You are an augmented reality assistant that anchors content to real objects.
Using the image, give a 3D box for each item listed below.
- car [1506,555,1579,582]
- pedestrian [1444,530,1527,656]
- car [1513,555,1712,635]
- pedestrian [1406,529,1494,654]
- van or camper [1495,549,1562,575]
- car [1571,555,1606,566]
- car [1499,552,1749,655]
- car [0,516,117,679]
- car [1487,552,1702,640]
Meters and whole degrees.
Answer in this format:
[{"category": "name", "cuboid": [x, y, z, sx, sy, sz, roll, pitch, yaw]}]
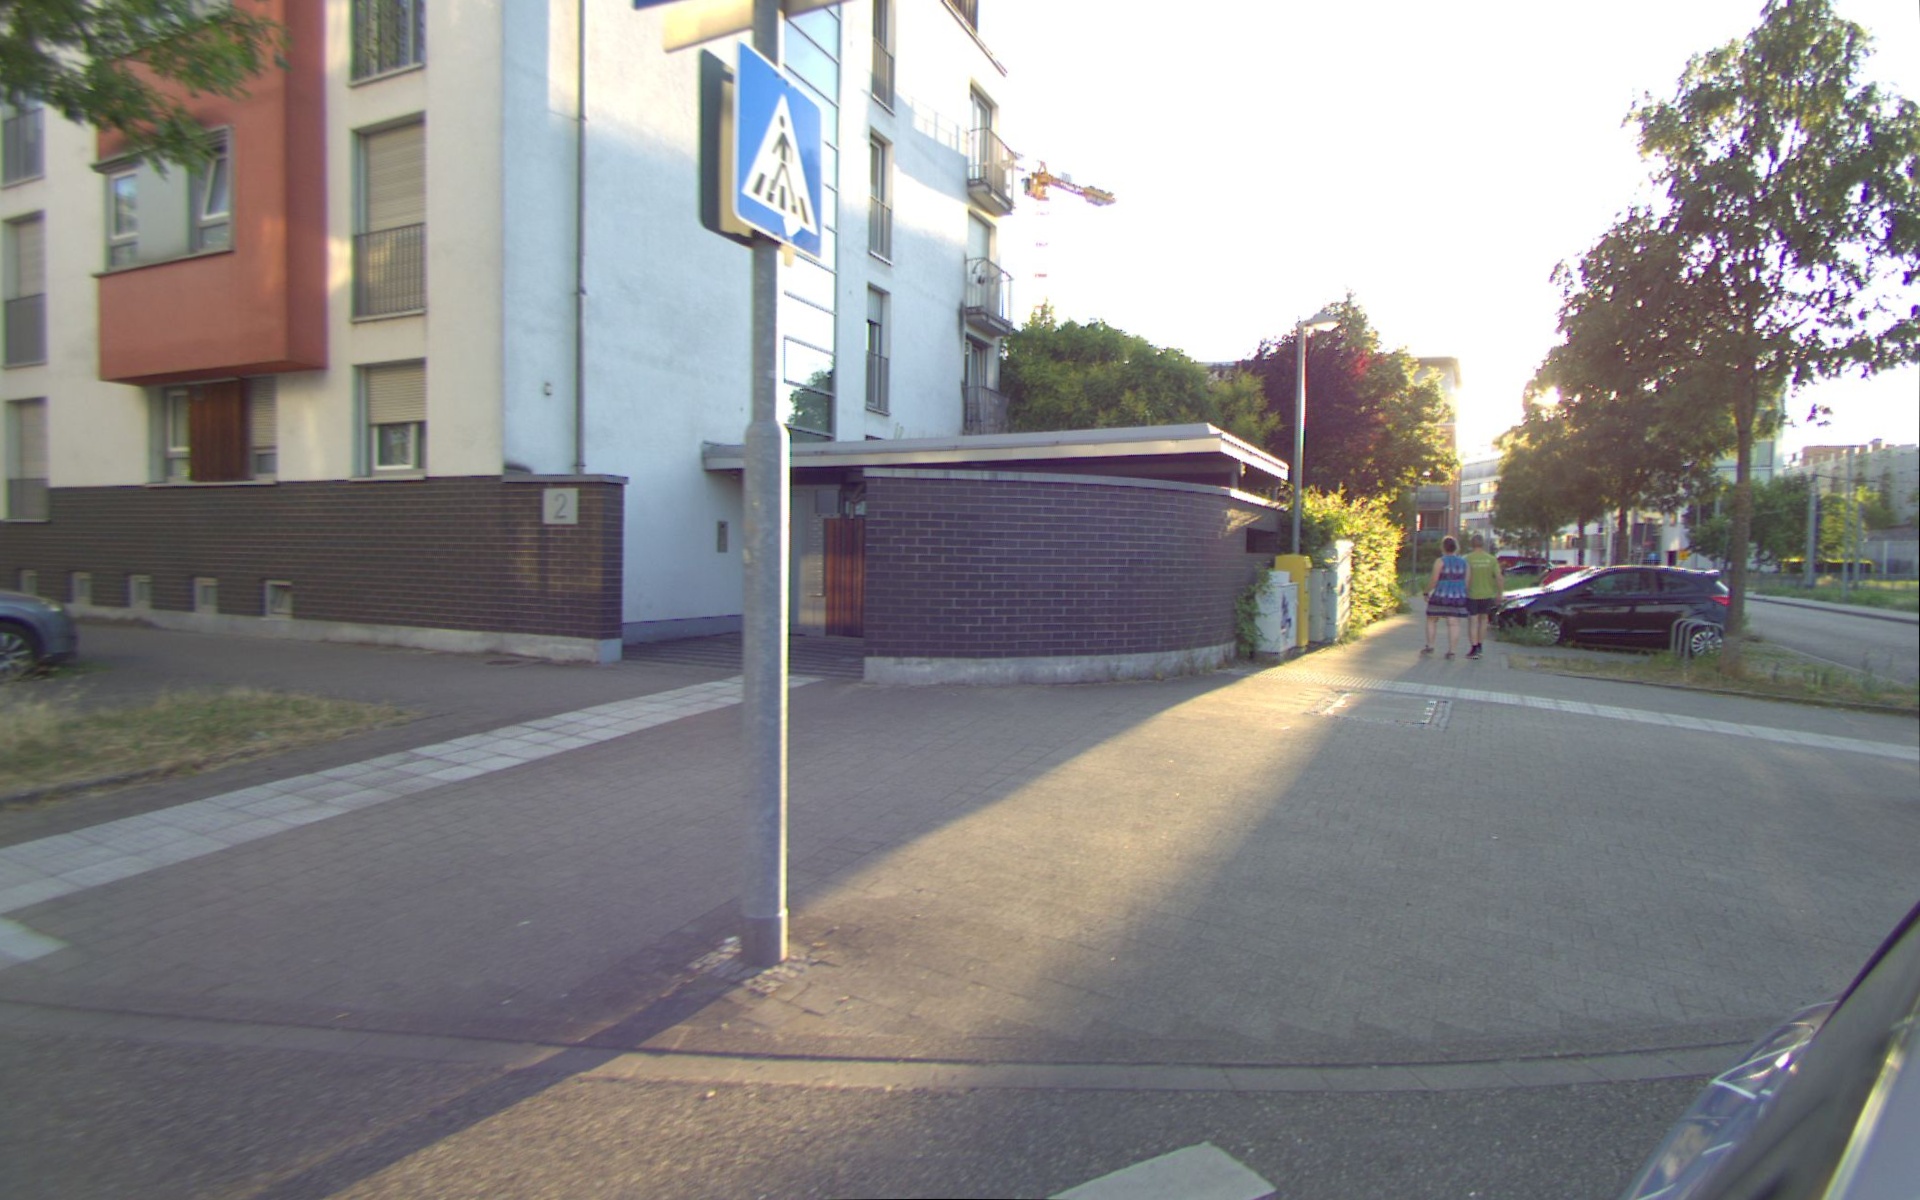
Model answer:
[{"category": "car", "cuboid": [37.886, -2.074, 65.898, 3.835, 1.715, 1.691, 1, 2, 22]}, {"category": "pedestrian", "cuboid": [7.265, -0.114, 14.012, 0.611, 1.687, 0.745, 0, 4, -13]}, {"category": "car", "cuboid": [13.873, -0.163, 21.738, 3.379, 1.518, 1.580, 3, 3, 28]}, {"category": "pedestrian", "cuboid": [6.651, -0.132, 13.764, 0.643, 1.619, 0.715, 3, 3, -13]}, {"category": "van or camper", "cuboid": [38.554, -2.587, 68.748, 3.841, 1.715, 1.819, 1, 3, 27]}, {"category": "car", "cuboid": [87.665, -5.524, 141.224, 3.840, 1.633, 1.689, 1, 2, 26]}, {"category": "car", "cuboid": [11.305, -0.013, 17.531, 3.379, 1.540, 1.675, 3, 3, 28]}, {"category": "car", "cuboid": [-10.072, 0.086, 8.497, 1.661, 1.474, 4.266, 1, 6, 23]}, {"category": "car", "cuboid": [12.268, -0.138, 19.823, 3.379, 1.518, 1.580, 3, 3, 28]}]
